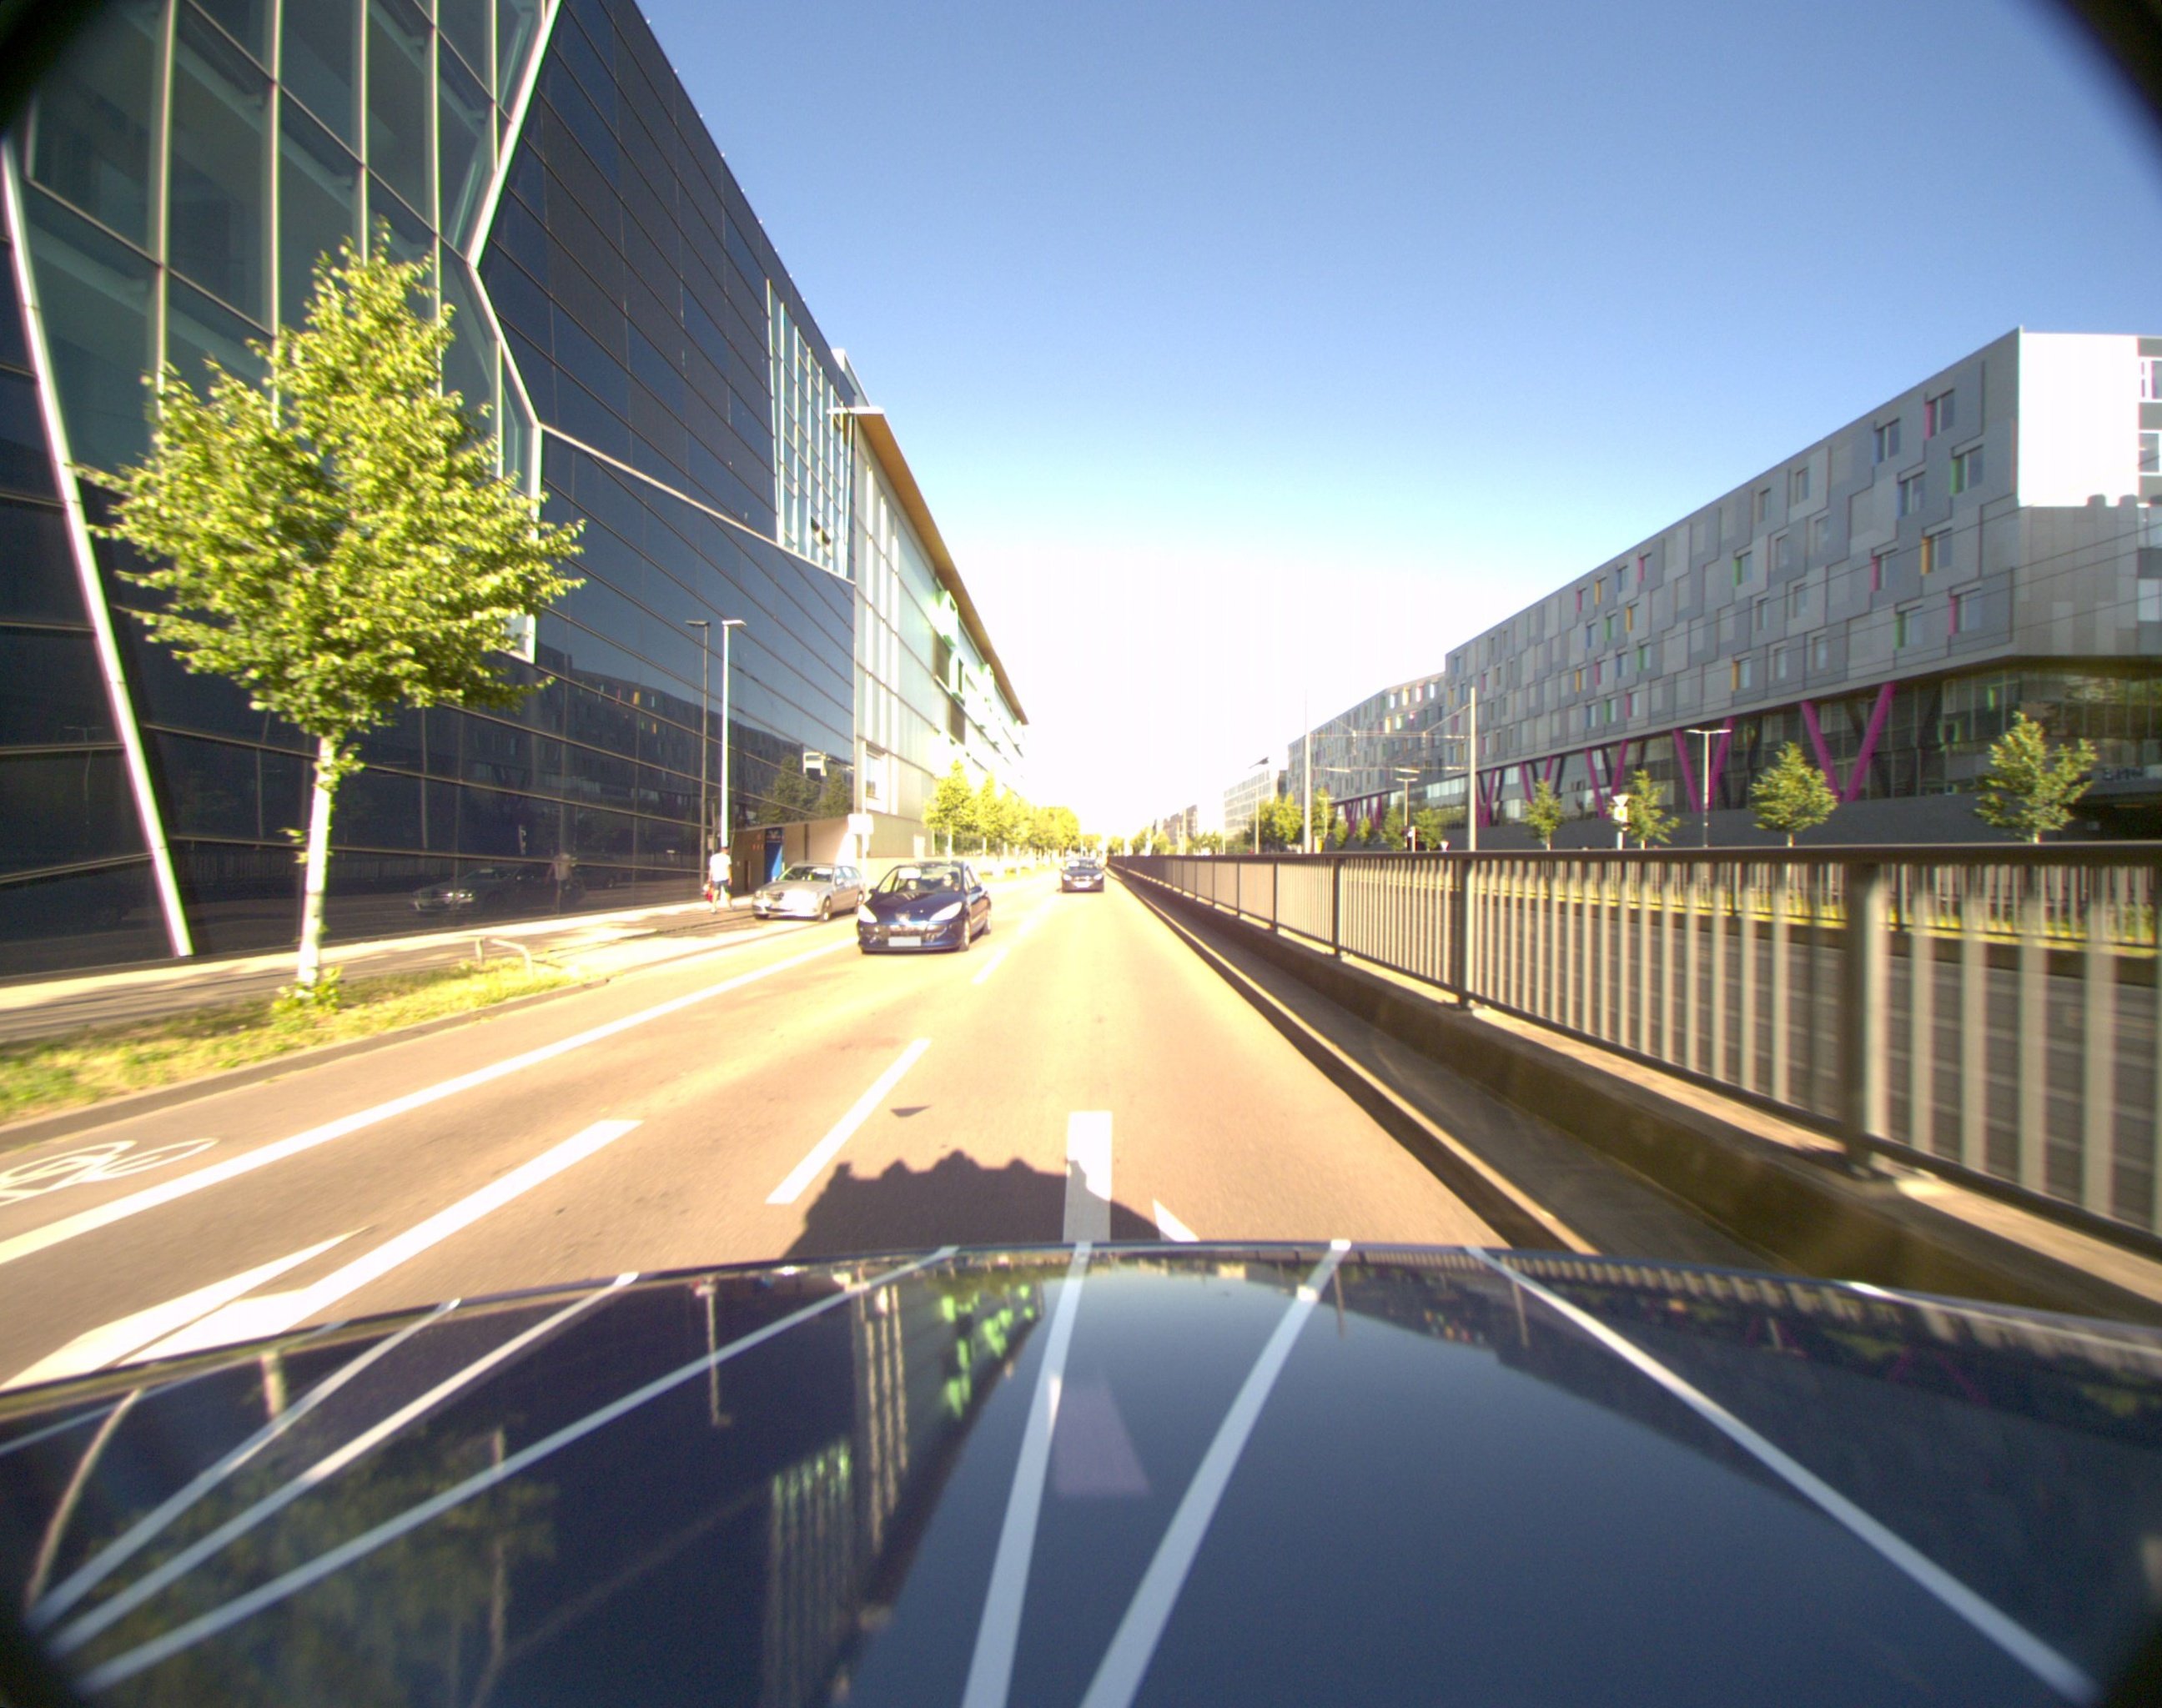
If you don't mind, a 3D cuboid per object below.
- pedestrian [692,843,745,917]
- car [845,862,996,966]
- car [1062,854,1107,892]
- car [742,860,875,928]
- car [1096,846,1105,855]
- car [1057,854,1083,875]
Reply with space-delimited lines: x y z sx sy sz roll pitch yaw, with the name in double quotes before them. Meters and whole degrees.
"pedestrian" -9.304 0.661 19.542 0.828 1.814 0.905 3 1 1
"car" -2.640 0.926 13.440 1.753 1.469 3.971 -1 0 1
"car" 0.166 0.772 33.110 1.787 1.499 4.590 -1 0 1
"car" -7.049 0.955 20.210 1.740 1.489 4.715 2 0 1
"car" 4.359 -0.759 169.670 1.998 2.002 3.999 -2 1 1
"car" -0.796 0.782 56.523 1.753 1.469 3.418 -1 0 1
